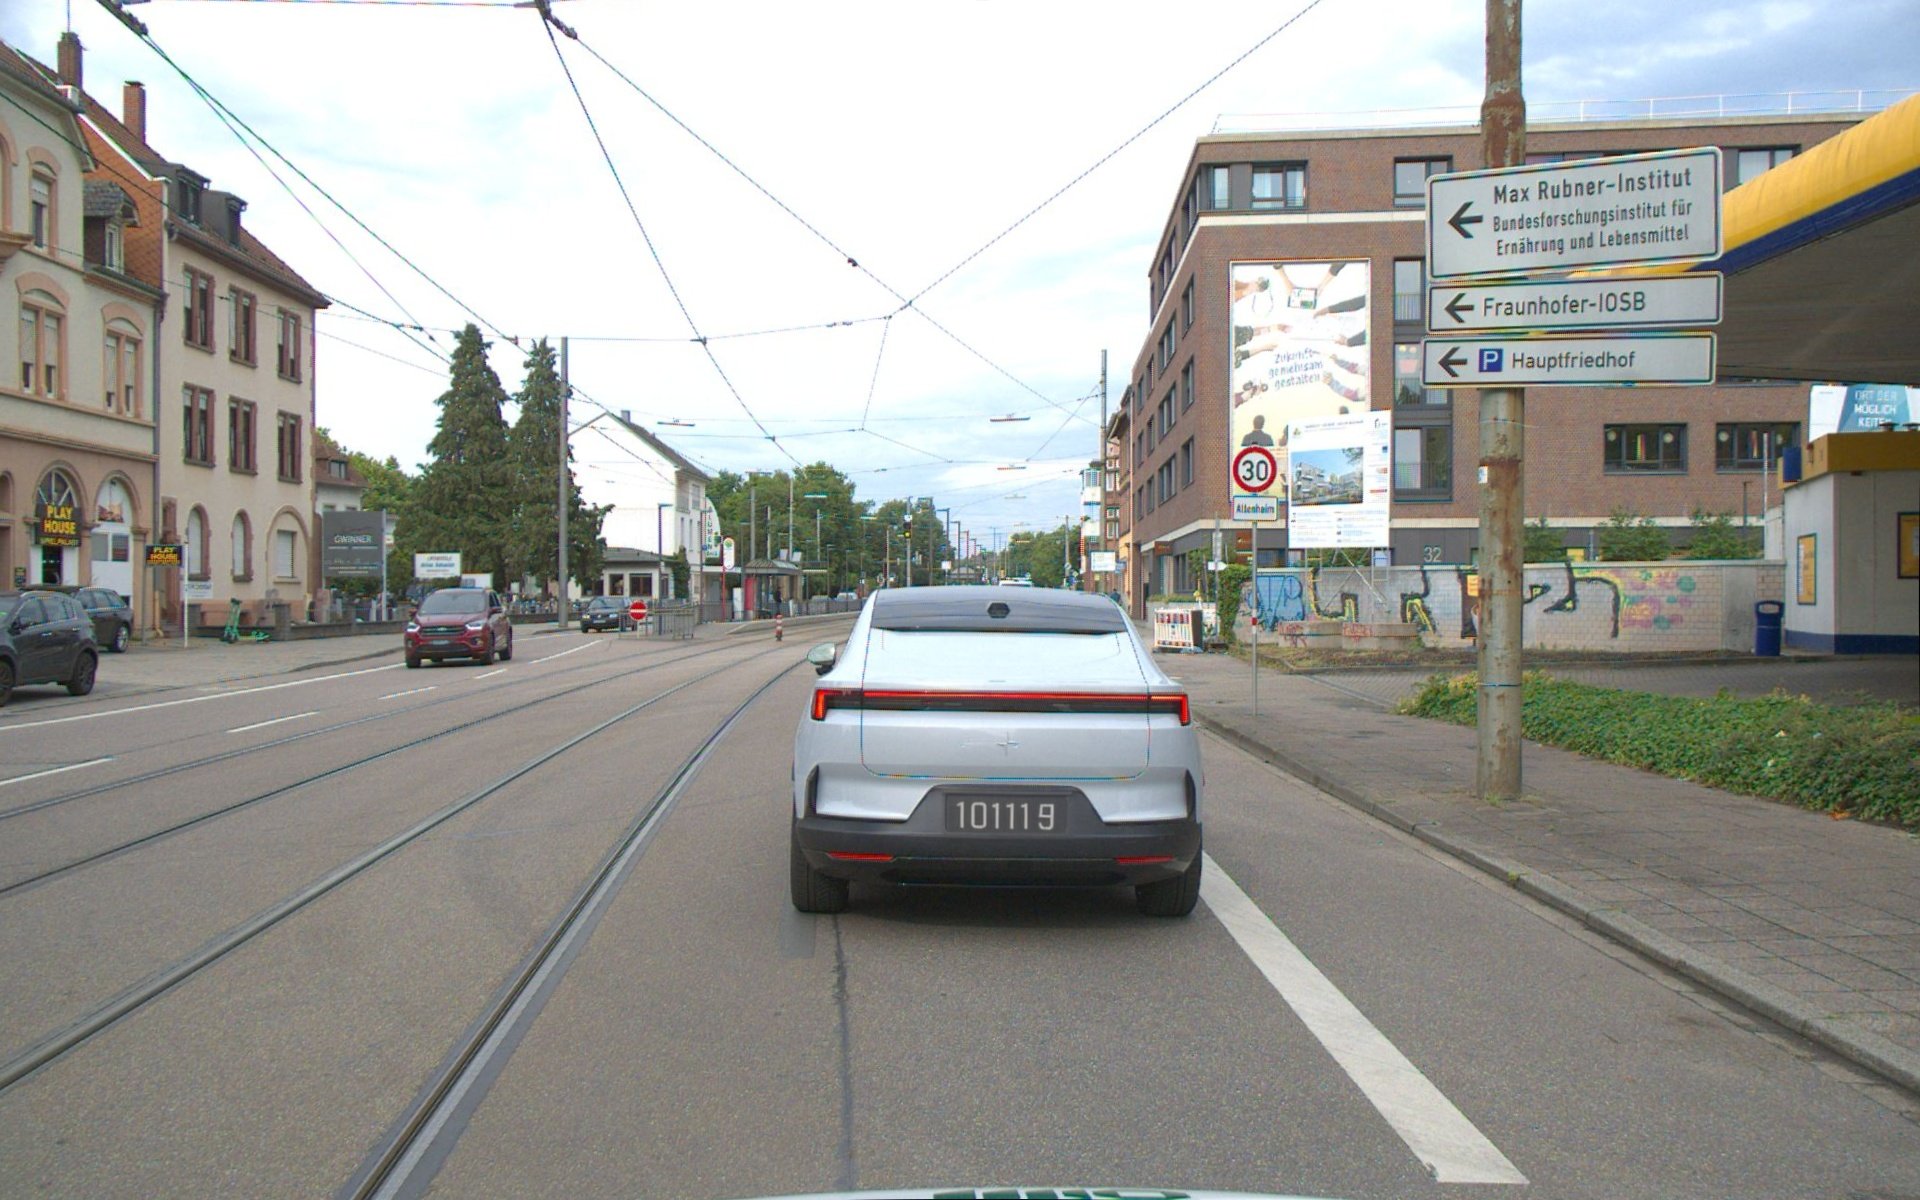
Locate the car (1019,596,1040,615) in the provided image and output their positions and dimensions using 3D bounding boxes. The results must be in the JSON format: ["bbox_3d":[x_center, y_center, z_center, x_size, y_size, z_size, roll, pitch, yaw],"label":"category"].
[{"bbox_3d":[7.550,0.599,180.189,1.953,2.049,3.999,1,0,-1],"label":"car"}]

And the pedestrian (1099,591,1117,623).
[{"bbox_3d":[8.848,0.426,98.675,0.940,1.882,0.976,-2,1,8],"label":"pedestrian"}]

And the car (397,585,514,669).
[{"bbox_3d":[-11.127,0.563,36.771,1.808,1.754,4.399,0,0,-8],"label":"car"}]

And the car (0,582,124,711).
[{"bbox_3d":[-14.936,0.652,25.523,1.997,1.780,4.531,2,1,-5],"label":"car"}]

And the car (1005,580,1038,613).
[{"bbox_3d":[3.946,-0.237,106.828,1.953,2.049,3.999,1,0,-1],"label":"car"}]

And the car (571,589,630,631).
[{"bbox_3d":[-14.356,0.391,66.265,1.755,1.556,4.136,-2,0,-5],"label":"car"}]

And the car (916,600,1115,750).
[{"bbox_3d":[0.586,0.743,18.366,1.952,1.444,4.001,-1,0,1],"label":"car"}]

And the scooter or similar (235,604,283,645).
[{"bbox_3d":[-19.606,0.694,46.284,1.162,1.121,0.522,1,0,-32],"label":"scooter or similar"}]

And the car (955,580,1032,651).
[{"bbox_3d":[0.877,0.410,45.675,1.953,1.847,3.999,-1,0,-1],"label":"car"}]

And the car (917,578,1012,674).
[{"bbox_3d":[0.139,0.479,31.772,1.646,1.717,3.825,1,0,3],"label":"car"}]

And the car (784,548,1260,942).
[{"bbox_3d":[0.198,0.616,8.858,1.959,1.608,3.998,1,0,-2],"label":"car"}]

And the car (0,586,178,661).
[{"bbox_3d":[-19.064,0.477,35.951,1.953,1.519,4.900,0,0,-2],"label":"car"}]

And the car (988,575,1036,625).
[{"bbox_3d":[2.618,-0.010,84.078,2.181,2.444,5.122,1,0,-1],"label":"car"}]

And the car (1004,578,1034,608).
[{"bbox_3d":[4.132,-0.474,116.579,1.953,2.049,3.999,1,0,-1],"label":"car"}]

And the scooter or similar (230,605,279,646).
[{"bbox_3d":[-19.401,0.694,45.472,1.162,1.121,0.522,1,0,-32],"label":"scooter or similar"}]

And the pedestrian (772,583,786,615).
[{"bbox_3d":[-9.568,-0.036,87.511,0.602,1.694,0.698,1,0,5],"label":"pedestrian"}]
